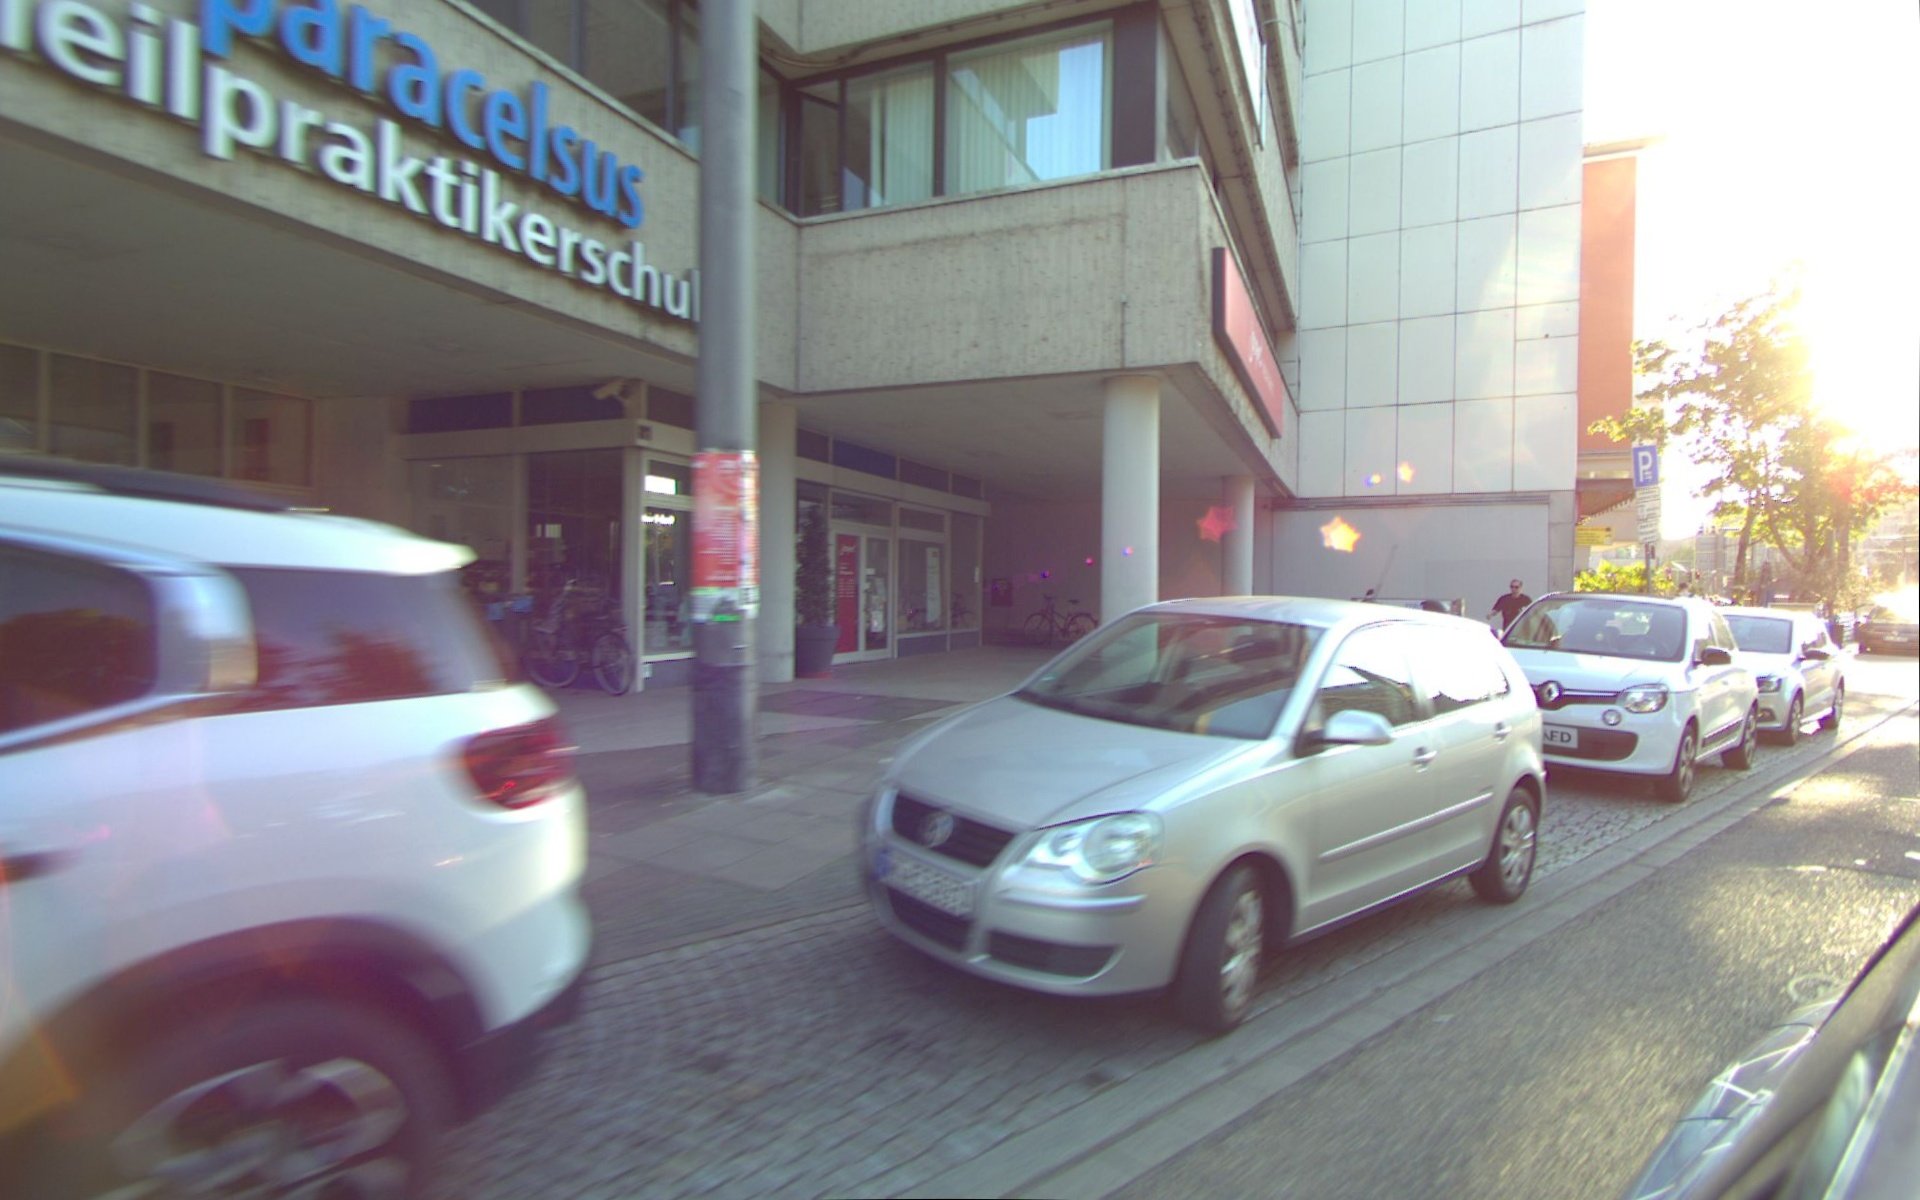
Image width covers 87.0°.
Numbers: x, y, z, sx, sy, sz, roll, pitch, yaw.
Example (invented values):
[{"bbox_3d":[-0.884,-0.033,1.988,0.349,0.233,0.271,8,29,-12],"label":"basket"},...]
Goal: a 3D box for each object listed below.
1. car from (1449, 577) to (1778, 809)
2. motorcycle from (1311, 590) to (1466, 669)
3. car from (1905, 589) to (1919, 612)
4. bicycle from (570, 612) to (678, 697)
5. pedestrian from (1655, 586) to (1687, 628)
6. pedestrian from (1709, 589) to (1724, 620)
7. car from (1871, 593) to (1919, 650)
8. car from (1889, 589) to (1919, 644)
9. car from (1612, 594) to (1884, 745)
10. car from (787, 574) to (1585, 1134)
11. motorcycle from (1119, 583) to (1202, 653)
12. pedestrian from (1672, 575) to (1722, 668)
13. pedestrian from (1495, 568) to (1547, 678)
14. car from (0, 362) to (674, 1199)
[{"bbox_3d":[5.826,0.648,8.858,3.606,1.611,1.586,0,-1,-43],"label":"car"},{"bbox_3d":[7.109,0.454,16.857,2.272,1.205,0.695,2,1,40],"label":"motorcycle"},{"bbox_3d":[65.254,0.015,66.618,1.960,1.562,4.004,0,0,-29],"label":"car"},{"bbox_3d":[-3.615,0.557,10.840,1.390,0.839,0.431,0,0,40],"label":"bicycle"},{"bbox_3d":[30.506,0.305,43.453,0.882,1.748,0.769,2,0,18],"label":"pedestrian"},{"bbox_3d":[41.723,0.248,55.807,0.514,1.715,0.765,-1,-1,29],"label":"pedestrian"},{"bbox_3d":[27.531,0.586,29.092,3.997,1.554,1.652,0,0,-43],"label":"car"},{"bbox_3d":[31.297,0.502,32.610,4.734,1.691,1.805,0,0,-45],"label":"car"},{"bbox_3d":[9.516,0.683,12.129,3.929,1.474,1.788,-1,1,-40],"label":"car"},{"bbox_3d":[1.315,0.701,4.726,3.930,1.548,1.643,0,0,-41],"label":"car"},{"bbox_3d":[3.956,0.331,20.128,0.655,1.309,1.800,1,1,-25],"label":"motorcycle"},{"bbox_3d":[14.683,0.423,20.186,0.634,1.808,0.849,0,-1,25],"label":"pedestrian"},{"bbox_3d":[8.680,0.342,15.678,0.634,1.648,0.849,0,-1,25],"label":"pedestrian"},{"bbox_3d":[-2.845,0.543,1.544,4.327,1.827,1.785,0,0,-43],"label":"car"}]
